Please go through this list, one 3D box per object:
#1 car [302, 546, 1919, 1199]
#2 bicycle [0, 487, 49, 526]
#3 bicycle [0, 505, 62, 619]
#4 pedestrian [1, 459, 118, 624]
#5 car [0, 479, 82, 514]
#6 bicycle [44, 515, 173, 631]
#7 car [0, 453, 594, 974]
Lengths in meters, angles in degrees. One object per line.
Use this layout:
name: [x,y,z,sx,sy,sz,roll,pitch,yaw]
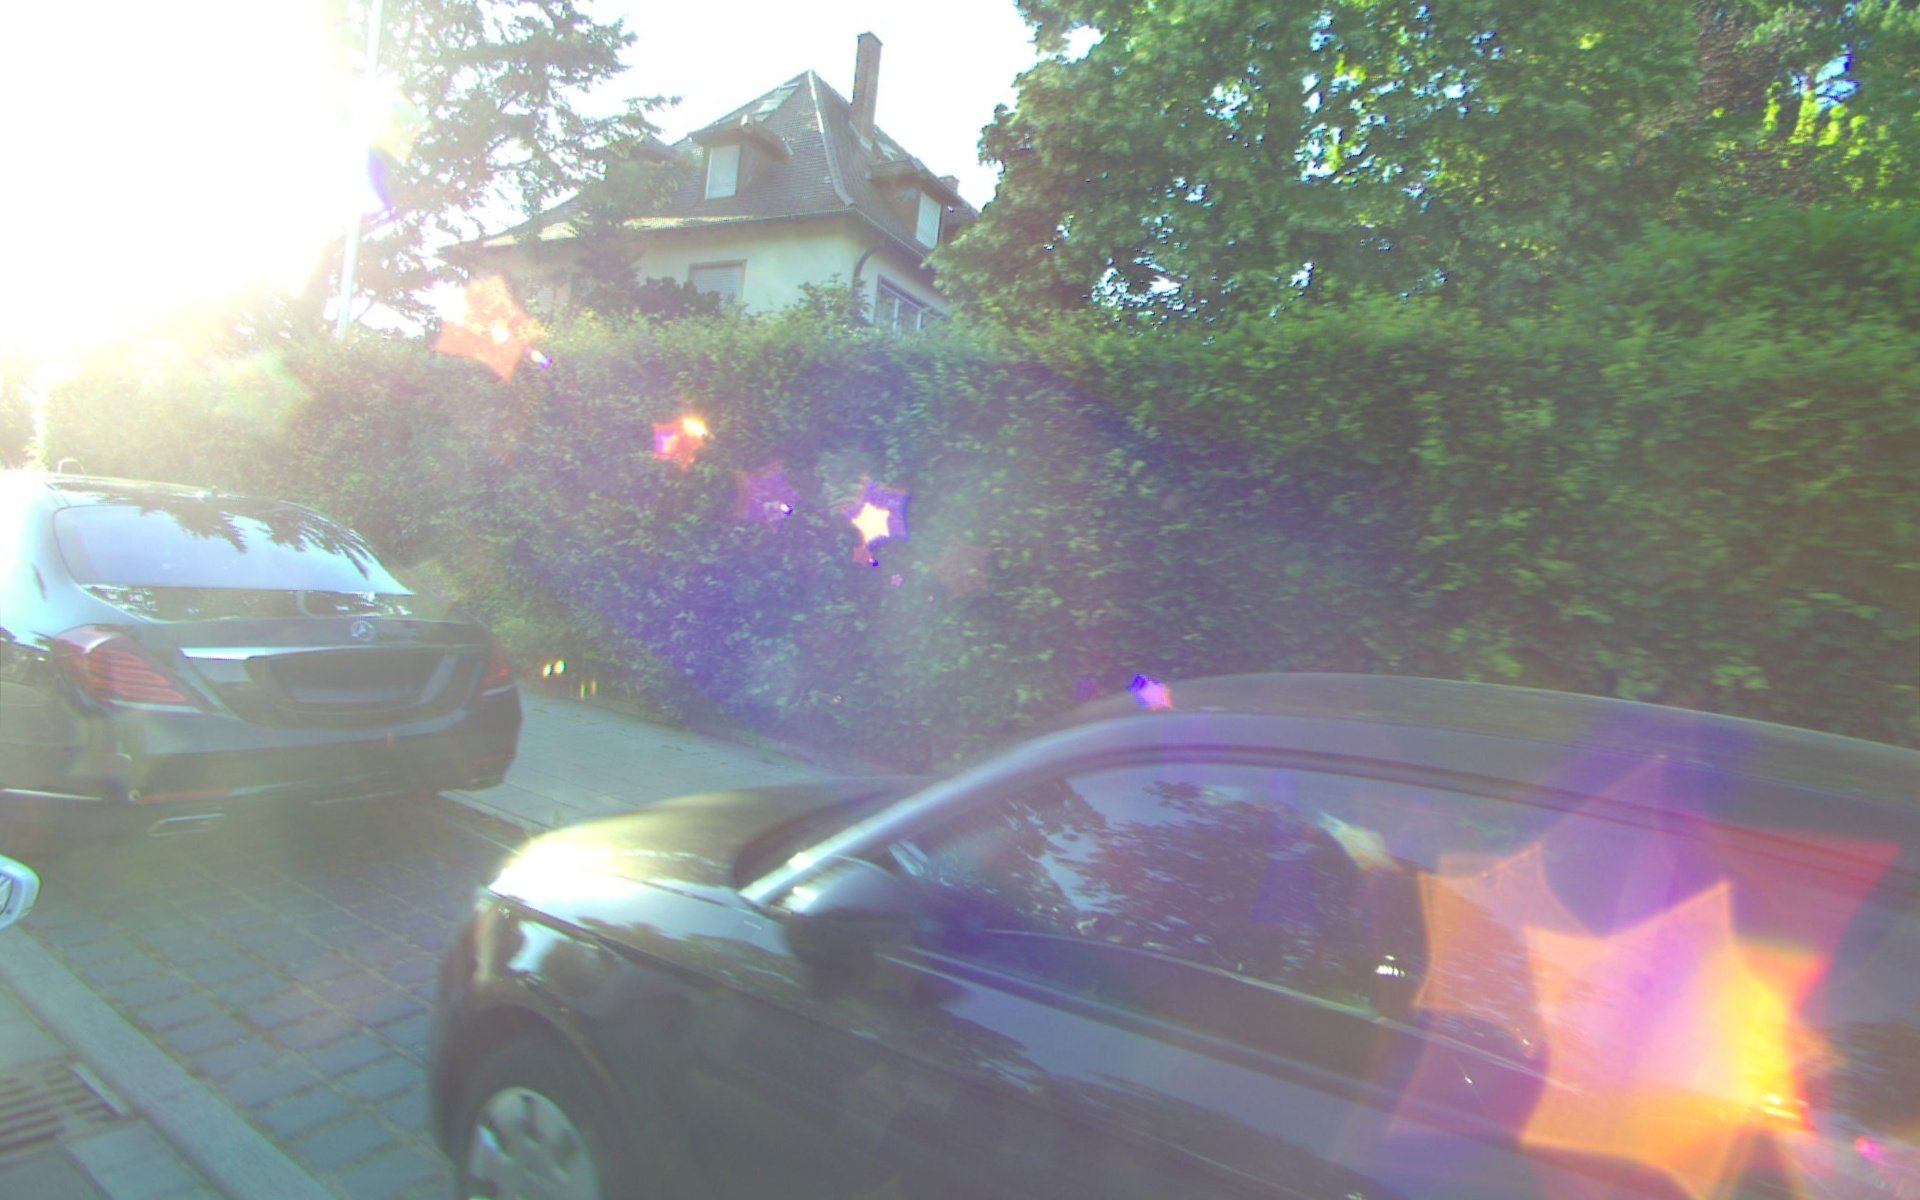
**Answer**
car: [0.682,0.835,1.832,3.871,1.446,1.641,7,2,32]
bicycle: [-31.831,-3.170,33.565,0.610,1.146,1.954,7,0,34]
bicycle: [-10.388,-0.461,10.765,1.759,1.111,0.488,7,1,27]
pedestrian: [-10.099,-0.642,11.290,0.611,1.729,0.670,7,1,26]
car: [-54.057,-6.076,58.753,1.570,1.445,3.852,7,0,28]
bicycle: [-9.889,-0.322,11.669,1.570,1.157,0.488,7,1,27]
car: [-4.274,0.168,5.059,4.791,1.561,1.861,7,0,31]
